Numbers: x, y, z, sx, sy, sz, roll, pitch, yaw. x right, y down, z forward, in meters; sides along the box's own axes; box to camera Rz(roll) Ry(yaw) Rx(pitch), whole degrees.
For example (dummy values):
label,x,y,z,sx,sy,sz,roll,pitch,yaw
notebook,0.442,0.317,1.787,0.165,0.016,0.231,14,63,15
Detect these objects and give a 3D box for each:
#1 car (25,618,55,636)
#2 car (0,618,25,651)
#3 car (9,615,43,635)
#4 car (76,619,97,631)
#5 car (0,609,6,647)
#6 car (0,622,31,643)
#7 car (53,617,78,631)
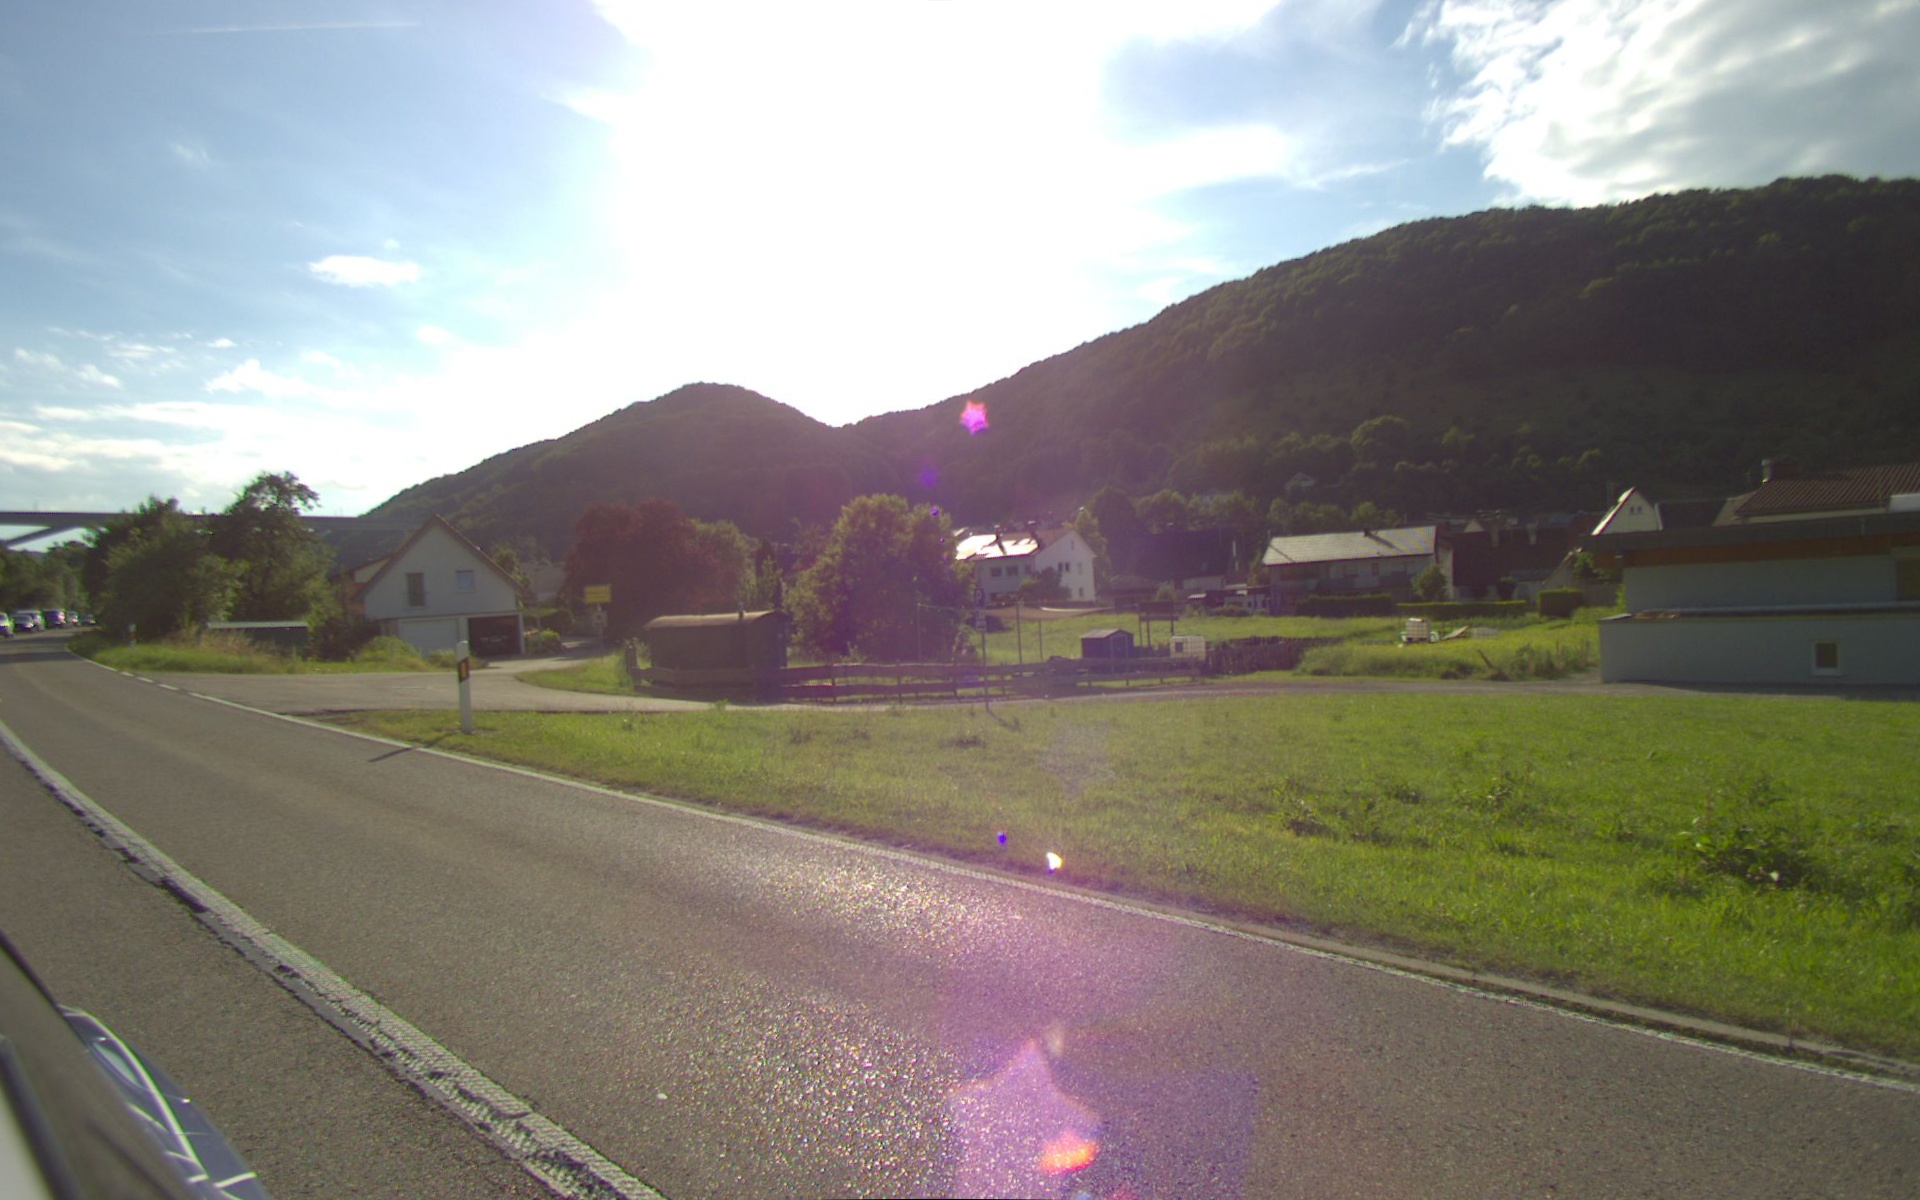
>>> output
label,x,y,z,sx,sy,sz,roll,pitch,yaw
car,-86.457,2.483,95.135,1.790,1.630,4.008,1,-1,-38
car,-60.166,2.152,63.545,1.886,2.029,4.007,1,-1,-40
car,-78.217,2.114,84.771,1.791,1.630,4.007,1,-2,-39
car,-112.856,3.188,130.740,1.813,1.564,4.186,1,-1,-37
car,-53.395,1.515,55.122,1.886,2.029,4.006,1,-1,-41
car,-71.912,2.447,76.848,1.814,1.564,4.185,1,-1,-39
car,-102.843,2.799,116.412,1.813,1.564,4.186,1,-1,-37
